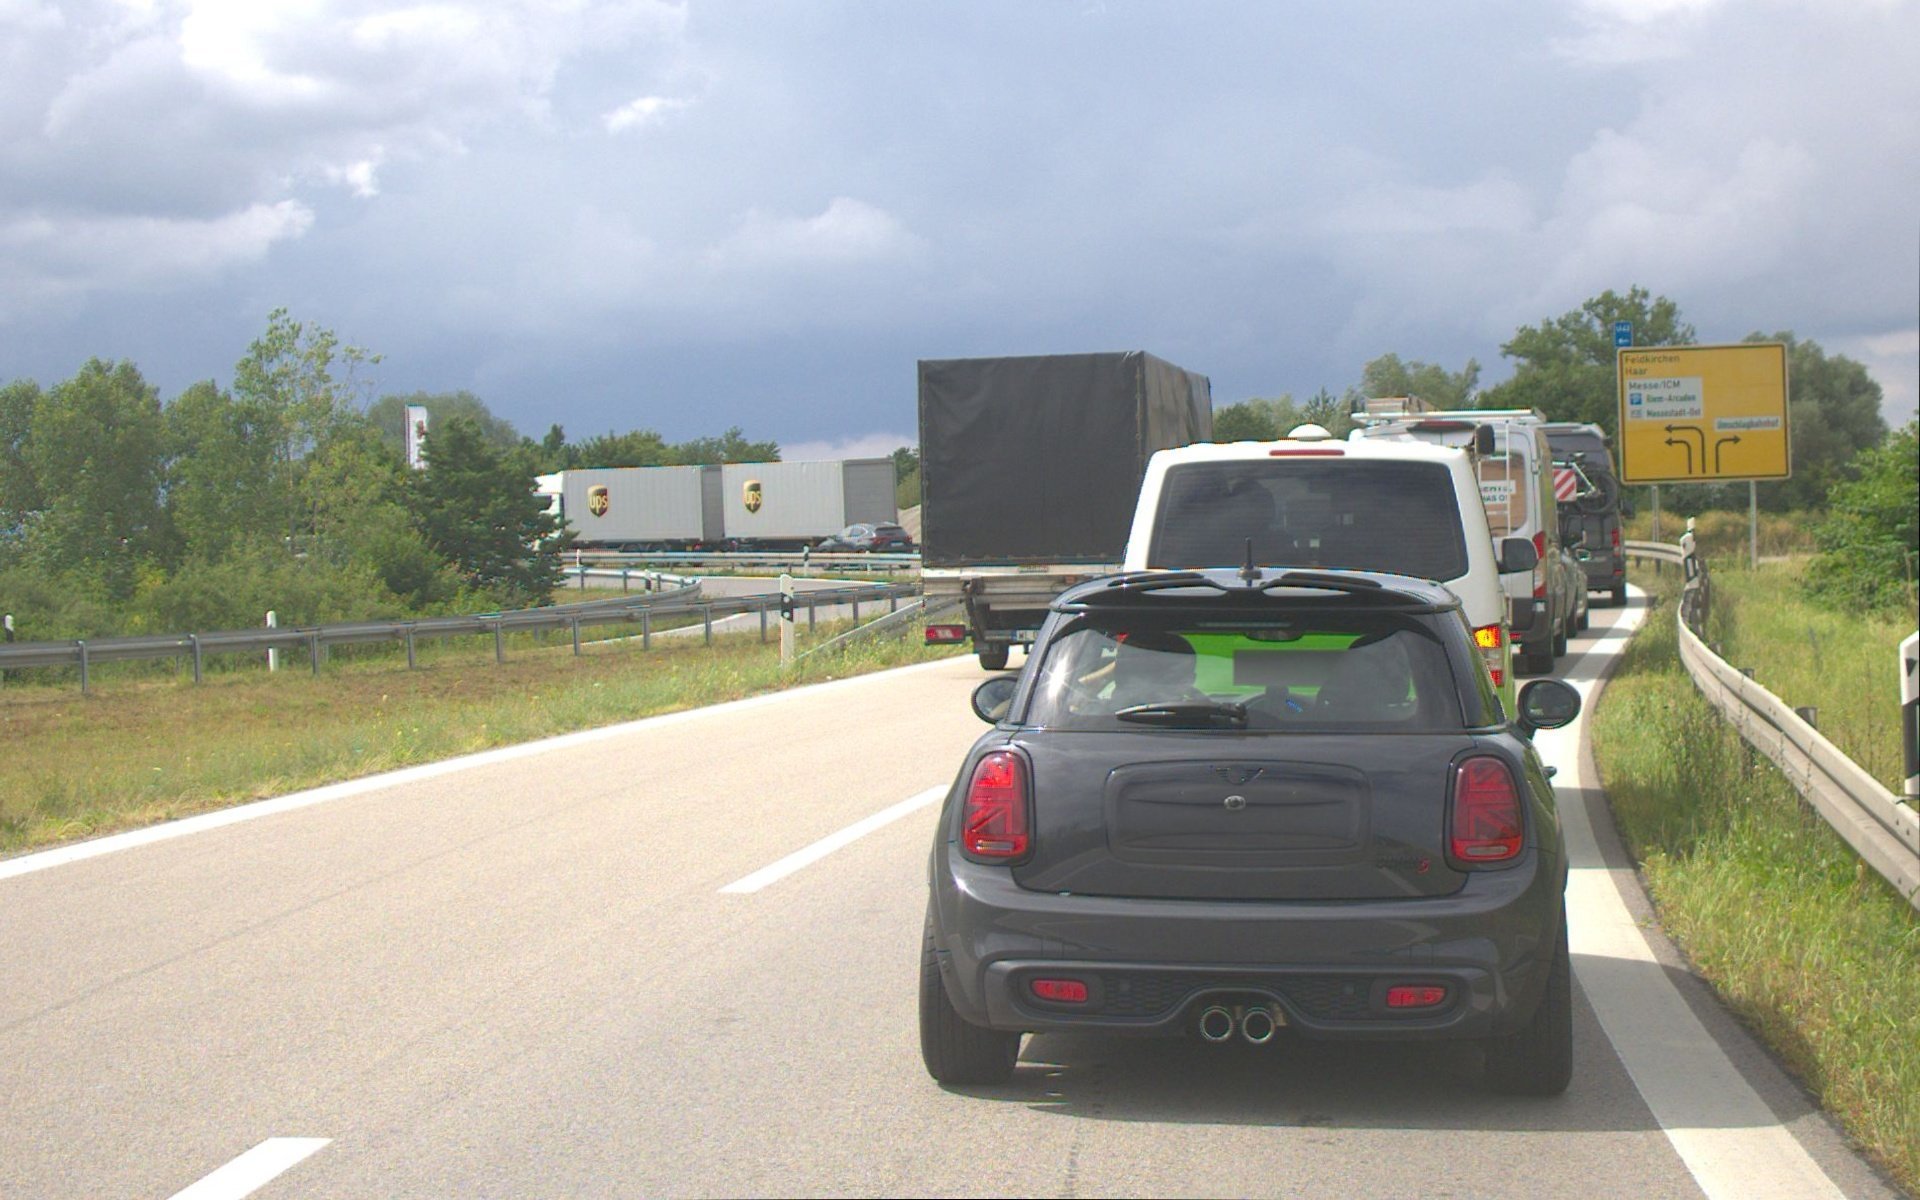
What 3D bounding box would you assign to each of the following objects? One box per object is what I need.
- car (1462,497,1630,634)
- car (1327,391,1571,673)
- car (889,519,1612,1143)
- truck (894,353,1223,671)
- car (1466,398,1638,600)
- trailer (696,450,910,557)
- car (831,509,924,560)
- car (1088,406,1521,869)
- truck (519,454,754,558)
[{"bbox_3d":[7.471,-0.428,43.754,1.994,1.636,3.927,1,0,10],"label":"car"},{"bbox_3d":[5.047,-0.651,34.845,2.212,2.613,5.532,1,0,10],"label":"car"},{"bbox_3d":[0.936,0.540,10.480,1.800,1.541,3.737,0,1,7],"label":"car"},{"bbox_3d":[1.257,-0.903,38.103,2.561,3.157,7.465,1,0,10],"label":"truck"},{"bbox_3d":[9.667,-1.556,55.743,2.312,3.058,6.658,1,0,13],"label":"car"},{"bbox_3d":[-5.984,-3.585,129.808,3.037,3.884,8.768,1,0,-44],"label":"trailer"},{"bbox_3d":[-2.938,-2.300,121.856,1.812,1.750,4.001,1,0,-25],"label":"car"},{"bbox_3d":[1.830,0.137,17.349,1.911,2.038,4.180,0,1,9],"label":"car"},{"bbox_3d":[-12.886,-3.679,136.065,10.019,3.962,2.839,1,0,38],"label":"truck"}]
